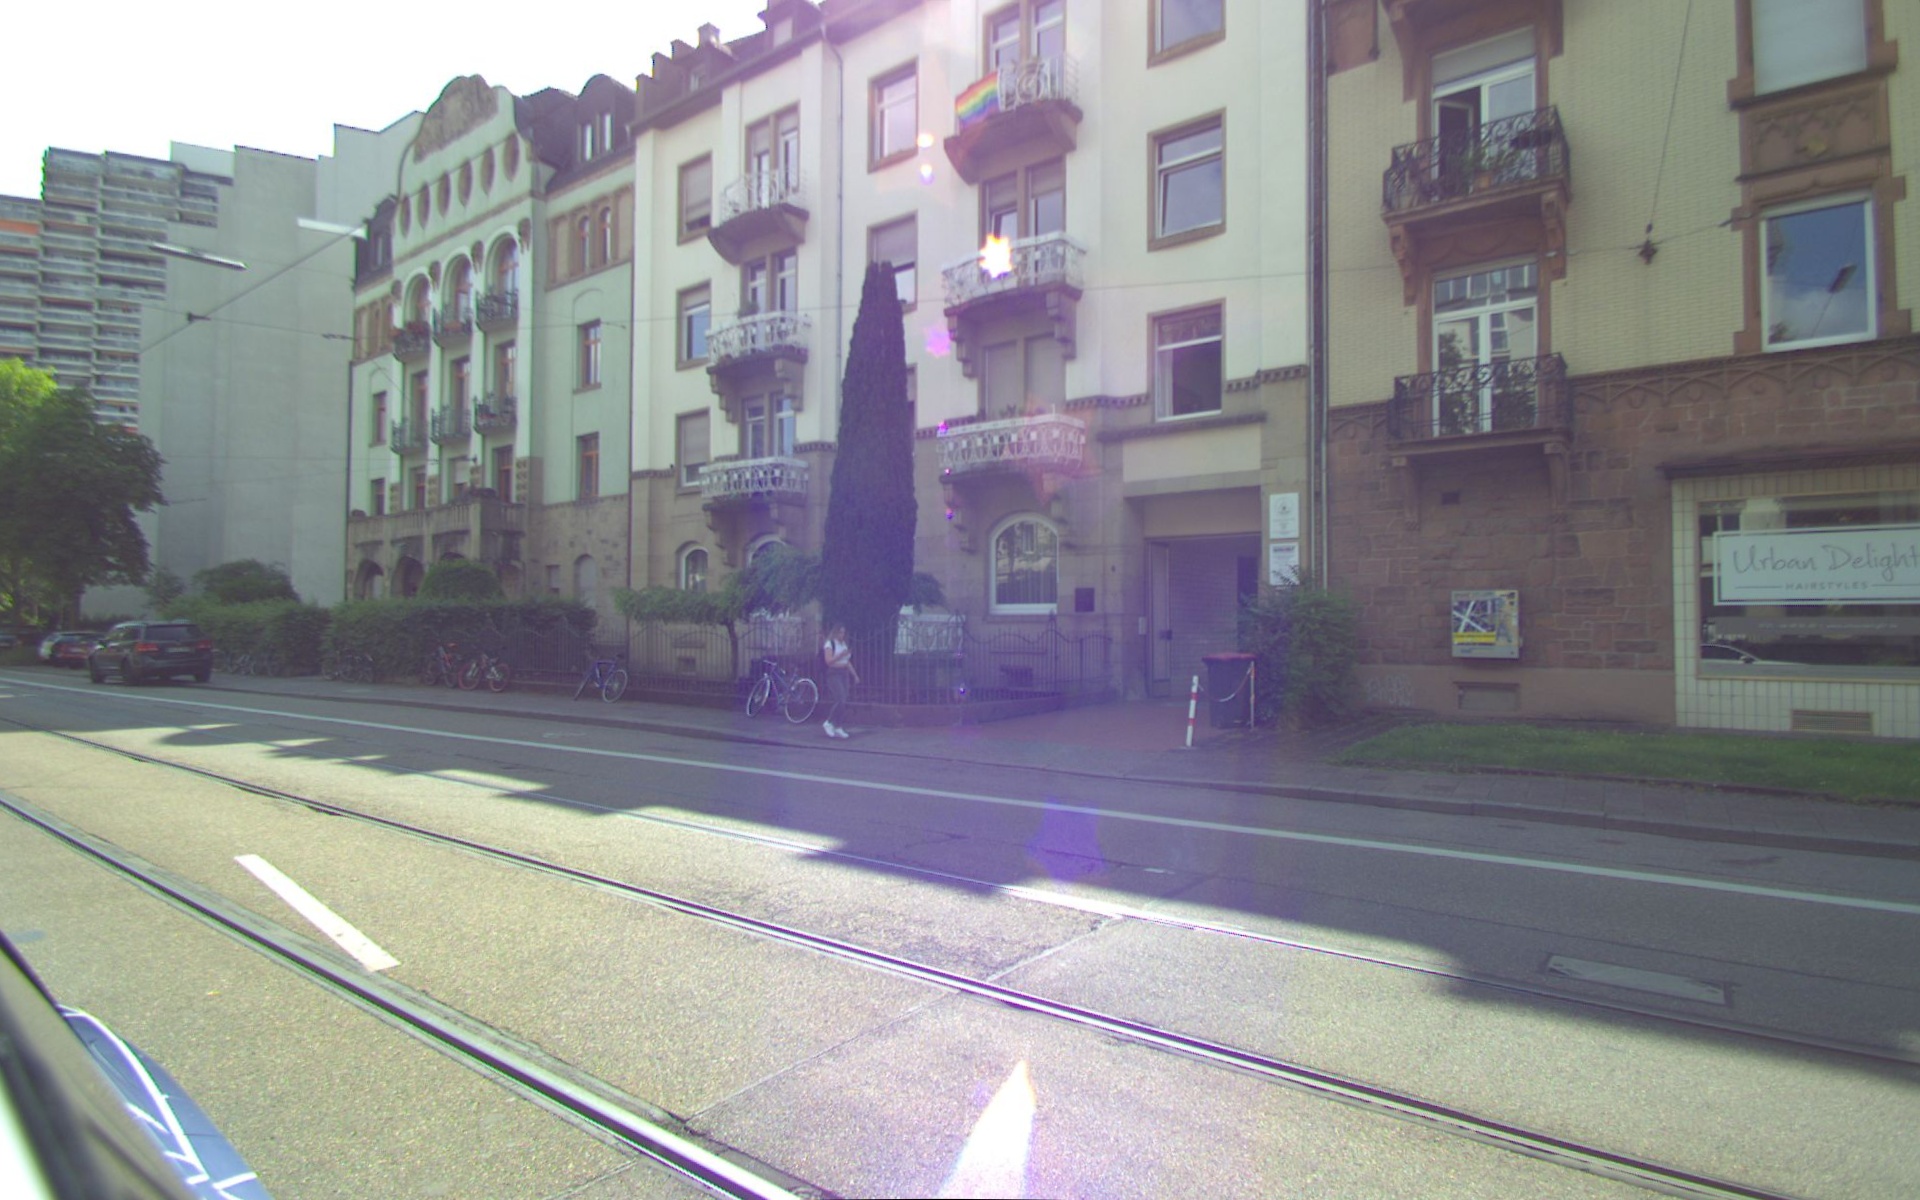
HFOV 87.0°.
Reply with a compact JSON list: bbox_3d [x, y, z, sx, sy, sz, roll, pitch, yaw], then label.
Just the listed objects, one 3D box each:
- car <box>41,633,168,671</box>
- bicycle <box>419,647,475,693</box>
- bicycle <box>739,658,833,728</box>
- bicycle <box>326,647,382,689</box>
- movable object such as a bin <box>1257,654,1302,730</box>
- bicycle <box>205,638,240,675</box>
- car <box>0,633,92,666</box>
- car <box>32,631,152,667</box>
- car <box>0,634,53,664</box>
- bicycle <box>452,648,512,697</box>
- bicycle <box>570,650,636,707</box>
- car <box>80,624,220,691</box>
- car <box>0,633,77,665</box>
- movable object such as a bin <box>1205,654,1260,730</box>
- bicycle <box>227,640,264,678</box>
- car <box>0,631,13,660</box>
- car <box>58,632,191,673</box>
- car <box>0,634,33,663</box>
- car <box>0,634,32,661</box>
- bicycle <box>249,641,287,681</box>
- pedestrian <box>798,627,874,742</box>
[{"bbox_3d":[-35.745,2.130,42.348,3.938,1.519,2.002,2,-3,-42],"label":"car"},{"bbox_3d":[-11.854,1.594,23.360,1.785,1.003,0.462,-2,-3,40],"label":"bicycle"},{"bbox_3d":[-2.789,1.448,16.086,0.461,1.003,1.980,2,-3,-43],"label":"bicycle"},{"bbox_3d":[-15.325,1.698,25.576,1.979,1.003,0.597,-2,-3,40],"label":"bicycle"},{"bbox_3d":[4.510,1.286,14.312,0.531,1.037,0.475,0,-2,11],"label":"movable object such as a bin"},{"bbox_3d":[-23.860,1.820,32.740,1.785,1.144,0.462,-2,-3,40],"label":"bicycle"},{"bbox_3d":[-43.656,2.324,47.837,3.938,1.519,2.002,2,-3,-42],"label":"car"},{"bbox_3d":[-38.348,2.126,44.765,3.938,1.519,2.002,2,-3,-42],"label":"car"},{"bbox_3d":[-48.789,2.492,51.471,3.938,1.519,2.002,2,-3,-42],"label":"car"},{"bbox_3d":[-10.440,1.558,22.094,1.785,1.003,0.462,-2,-3,40],"label":"bicycle"},{"bbox_3d":[-6.857,1.482,19.393,0.461,1.003,1.788,2,-3,-45],"label":"bicycle"},{"bbox_3d":[-22.422,1.544,27.970,4.393,1.708,1.899,-1,-2,36],"label":"car"},{"bbox_3d":[-46.109,2.402,49.818,3.938,1.519,2.002,2,-3,-42],"label":"car"},{"bbox_3d":[3.848,1.290,14.333,0.697,1.037,0.475,0,-2,11],"label":"movable object such as a bin"},{"bbox_3d":[-22.207,1.823,31.448,1.785,1.144,0.462,-2,-3,40],"label":"bicycle"},{"bbox_3d":[-56.563,2.578,57.513,3.938,1.695,2.002,2,-3,-42],"label":"car"},{"bbox_3d":[-33.065,2.046,40.090,3.938,1.519,2.002,2,-3,-42],"label":"car"},{"bbox_3d":[-51.479,2.522,53.256,3.938,1.519,2.002,2,-3,-42],"label":"car"},{"bbox_3d":[-53.665,2.598,55.562,3.938,1.519,2.002,2,-3,-42],"label":"car"},{"bbox_3d":[-20.683,1.805,30.244,1.785,1.144,0.462,-2,-3,40],"label":"bicycle"},{"bbox_3d":[-1.740,1.164,14.247,0.764,1.553,0.749,-2,-3,39],"label":"pedestrian"}]
